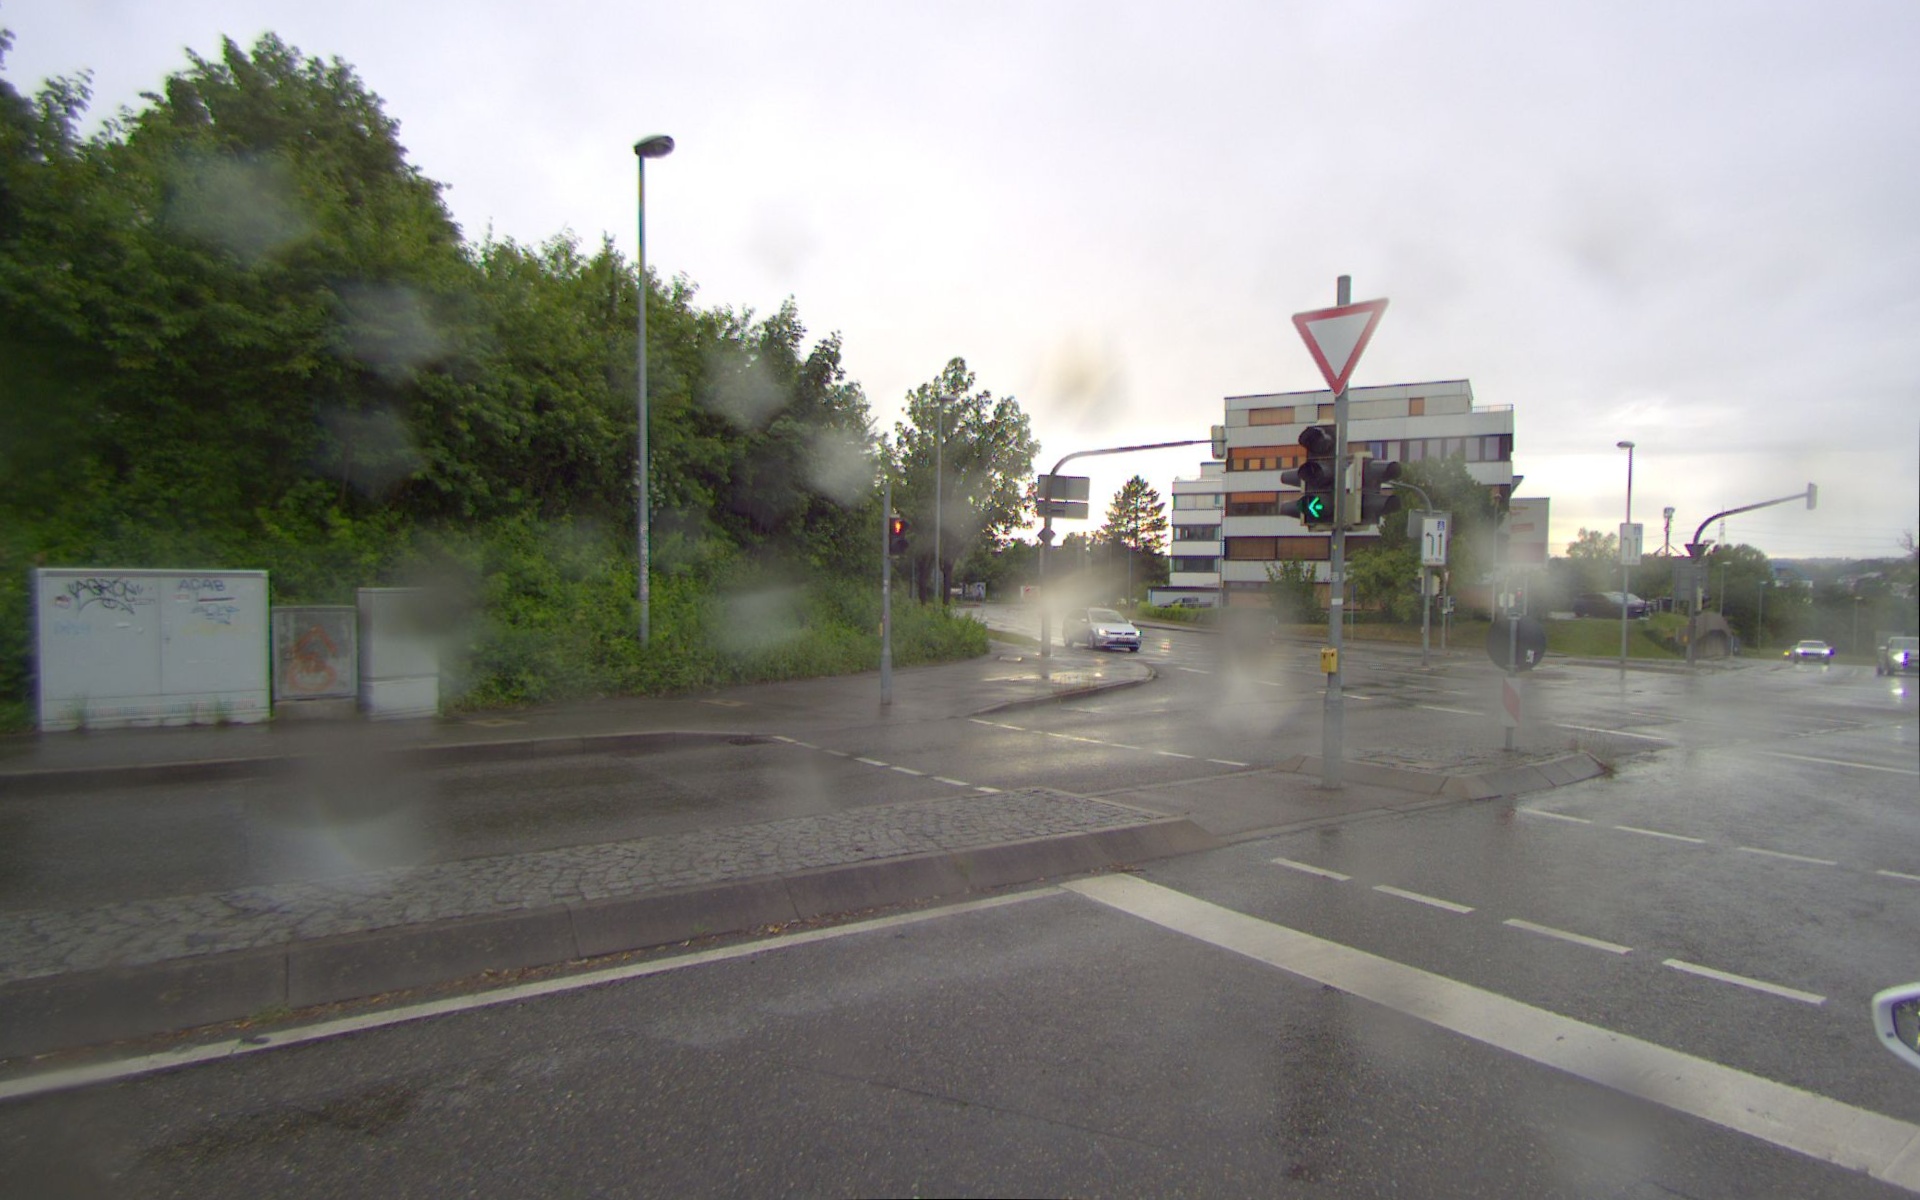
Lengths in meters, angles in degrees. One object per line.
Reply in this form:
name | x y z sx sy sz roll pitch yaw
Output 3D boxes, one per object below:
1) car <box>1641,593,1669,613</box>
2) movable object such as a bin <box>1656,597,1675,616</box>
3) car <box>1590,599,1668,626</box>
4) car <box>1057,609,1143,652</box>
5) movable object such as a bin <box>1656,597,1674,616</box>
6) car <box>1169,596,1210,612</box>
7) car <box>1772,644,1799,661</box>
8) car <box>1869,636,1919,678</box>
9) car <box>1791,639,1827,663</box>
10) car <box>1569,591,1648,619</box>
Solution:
car | 61.277 0.273 88.595 1.802 1.461 3.990 3 -1 33
movable object such as a bin | 55.747 0.514 79.387 1.069 1.456 1.443 3 0 34
car | 44.644 0.834 67.100 1.872 1.607 3.985 4 0 -17
car | 5.022 1.075 36.614 1.731 1.381 4.523 2 0 -11
movable object such as a bin | 56.550 0.545 80.625 1.069 1.456 1.443 3 0 34
car | 21.989 0.377 96.251 3.686 1.418 2.000 1 1 19
car | 83.353 5.304 101.386 1.877 1.475 3.977 2 1 43
car | 36.892 2.221 39.253 1.640 1.514 3.985 2 -1 37
car | 56.699 3.375 67.079 1.701 1.514 3.979 2 -1 42
car | 42.440 0.314 65.799 1.874 1.607 3.981 4 0 -21
